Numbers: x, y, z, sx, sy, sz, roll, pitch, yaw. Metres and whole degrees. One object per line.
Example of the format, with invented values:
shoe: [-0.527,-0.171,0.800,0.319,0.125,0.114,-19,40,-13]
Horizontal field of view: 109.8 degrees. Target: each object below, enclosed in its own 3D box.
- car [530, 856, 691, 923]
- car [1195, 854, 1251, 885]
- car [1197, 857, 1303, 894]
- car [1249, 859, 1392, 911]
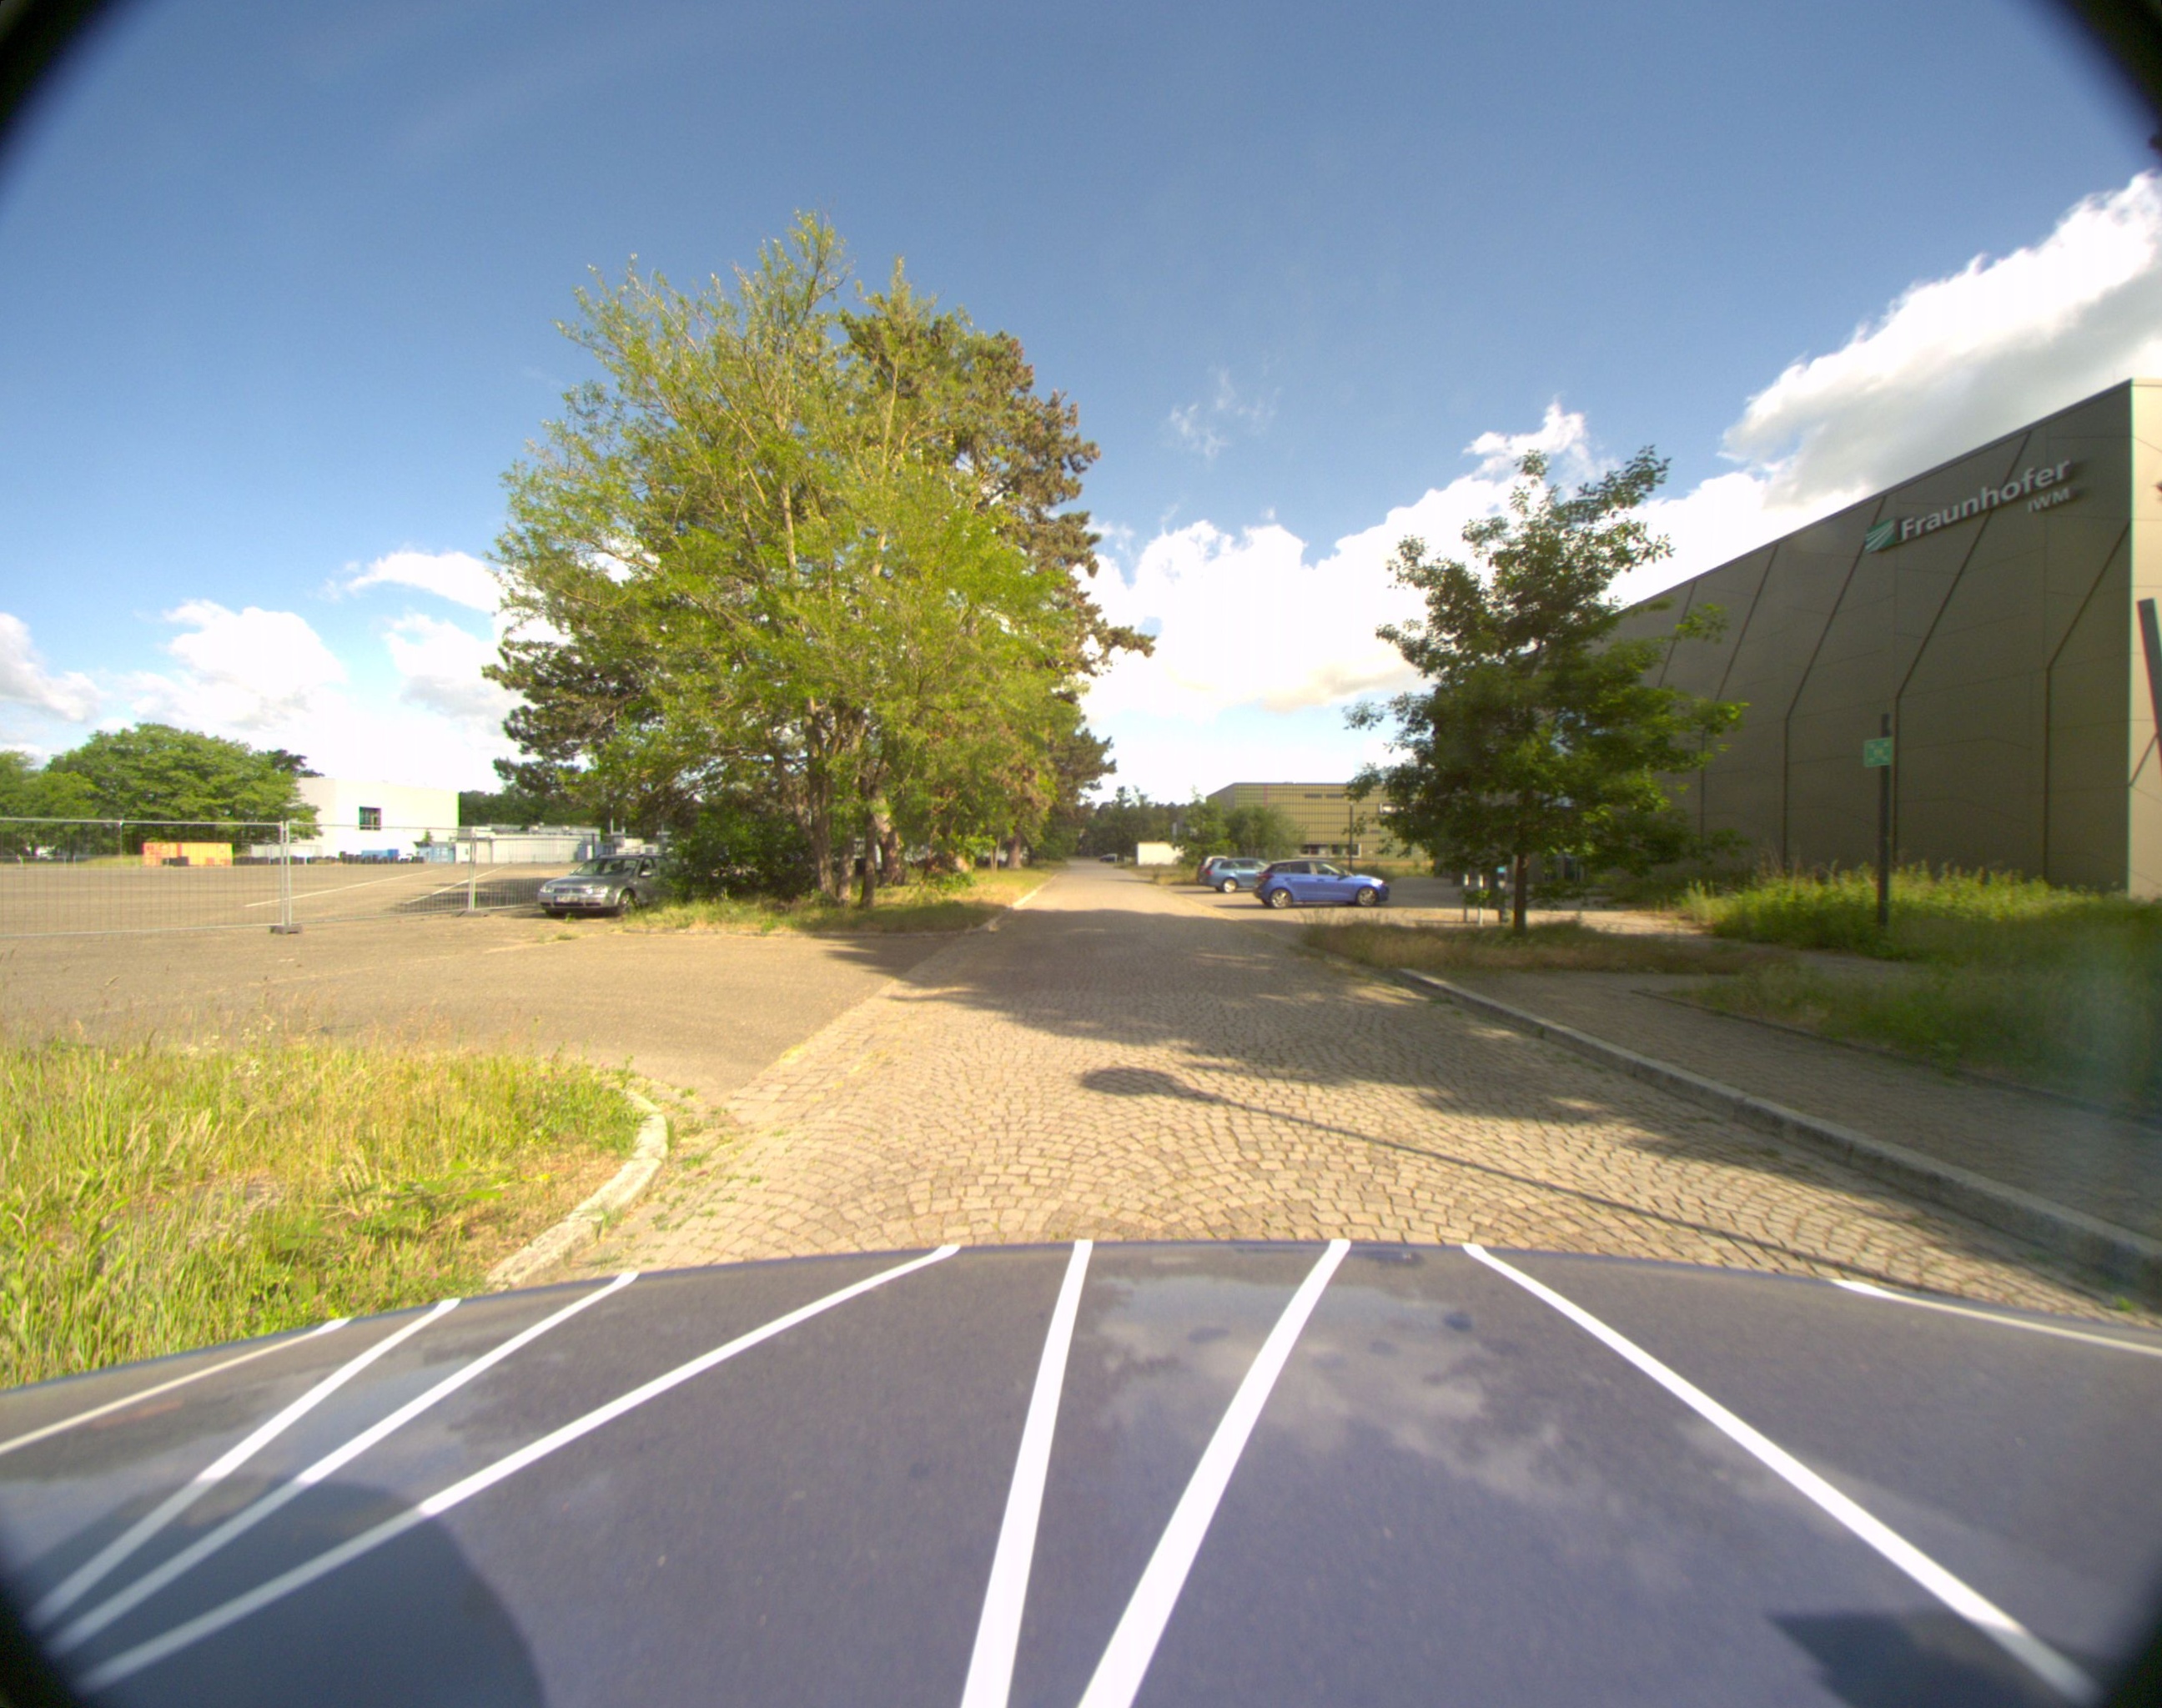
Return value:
car: [-11.197,0.775,18.424,1.579,1.435,3.985,0,0,-3]
car: [7.503,0.822,40.345,2.652,1.559,1.481,-1,1,-1]
car: [7.284,0.894,33.028,4.180,1.465,1.734,-1,0,-2]
car: [7.318,0.941,23.501,3.918,1.459,1.735,-1,0,3]
